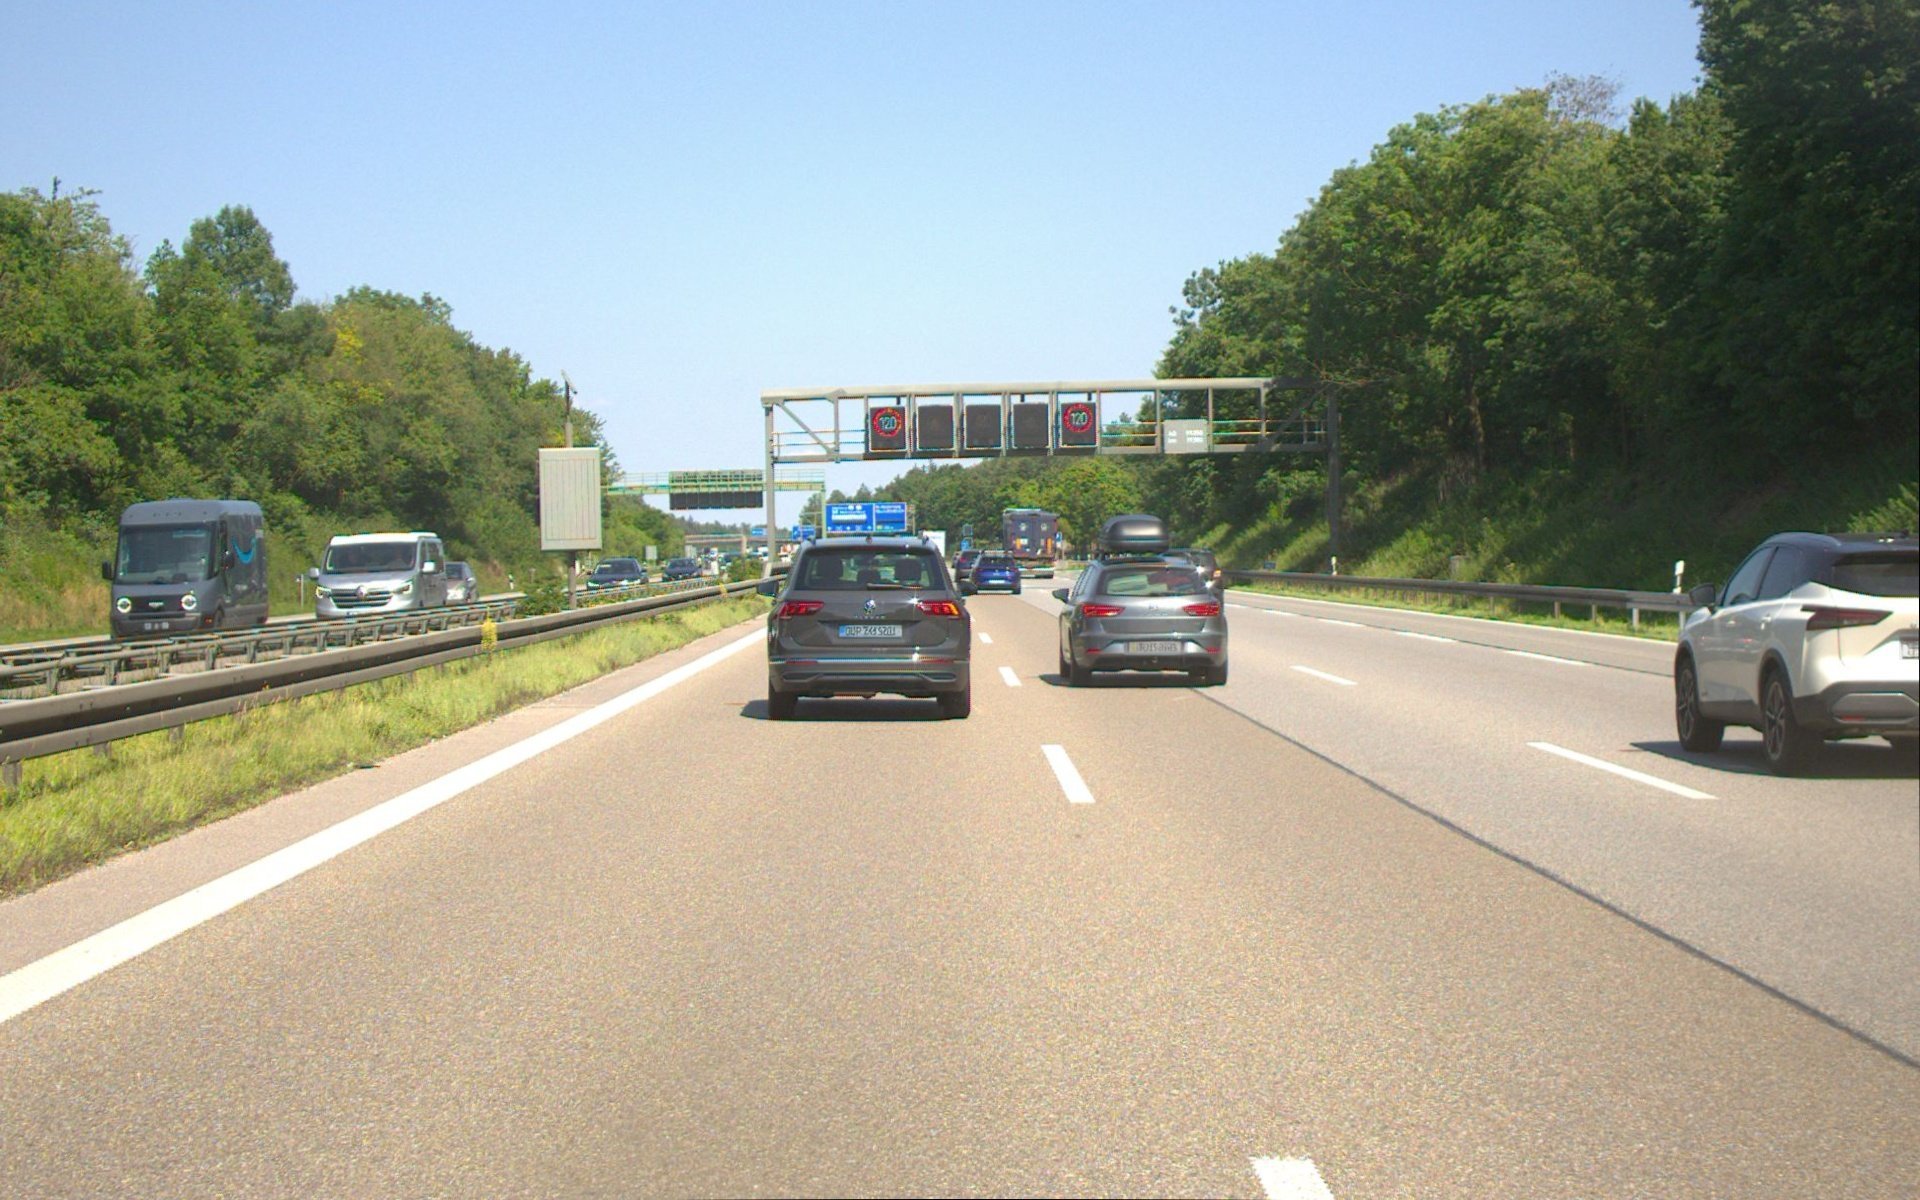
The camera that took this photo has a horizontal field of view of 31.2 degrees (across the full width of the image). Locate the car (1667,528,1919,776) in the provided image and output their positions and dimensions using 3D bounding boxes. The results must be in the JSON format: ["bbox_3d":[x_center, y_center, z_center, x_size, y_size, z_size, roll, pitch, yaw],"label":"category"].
[{"bbox_3d":[6.270,0.301,23.838,1.843,1.563,4.036,1,1,-1],"label":"car"}]

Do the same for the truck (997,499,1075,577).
[{"bbox_3d":[4.302,-3.562,199.341,3.780,4.407,14.052,0,1,-2],"label":"truck"}]

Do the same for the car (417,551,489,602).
[{"bbox_3d":[-15.390,-0.723,104.439,1.675,1.490,3.545,-1,1,-1],"label":"car"}]

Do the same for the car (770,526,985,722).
[{"bbox_3d":[-0.699,0.168,31.794,1.799,1.663,4.258,1,1,1],"label":"car"}]

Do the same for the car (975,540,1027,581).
[{"bbox_3d":[1.447,-1.408,121.331,1.765,1.377,4.258,1,1,1],"label":"car"}]

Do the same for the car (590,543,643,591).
[{"bbox_3d":[-11.386,-1.105,114.039,1.433,1.523,3.458,-1,1,-1],"label":"car"}]

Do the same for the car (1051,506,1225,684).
[{"bbox_3d":[1.976,-0.095,39.388,1.665,1.870,4.827,-1,1,0],"label":"car"}]

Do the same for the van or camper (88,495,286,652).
[{"bbox_3d":[-14.973,-0.554,67.031,2.197,2.802,6.798,-3,1,0],"label":"van or camper"}]

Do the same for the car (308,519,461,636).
[{"bbox_3d":[-10.657,-0.440,64.020,1.928,1.974,5.235,-3,1,-1],"label":"car"}]

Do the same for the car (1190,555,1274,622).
[{"bbox_3d":[6.655,-0.306,84.323,1.765,1.563,4.258,1,1,1],"label":"car"}]
